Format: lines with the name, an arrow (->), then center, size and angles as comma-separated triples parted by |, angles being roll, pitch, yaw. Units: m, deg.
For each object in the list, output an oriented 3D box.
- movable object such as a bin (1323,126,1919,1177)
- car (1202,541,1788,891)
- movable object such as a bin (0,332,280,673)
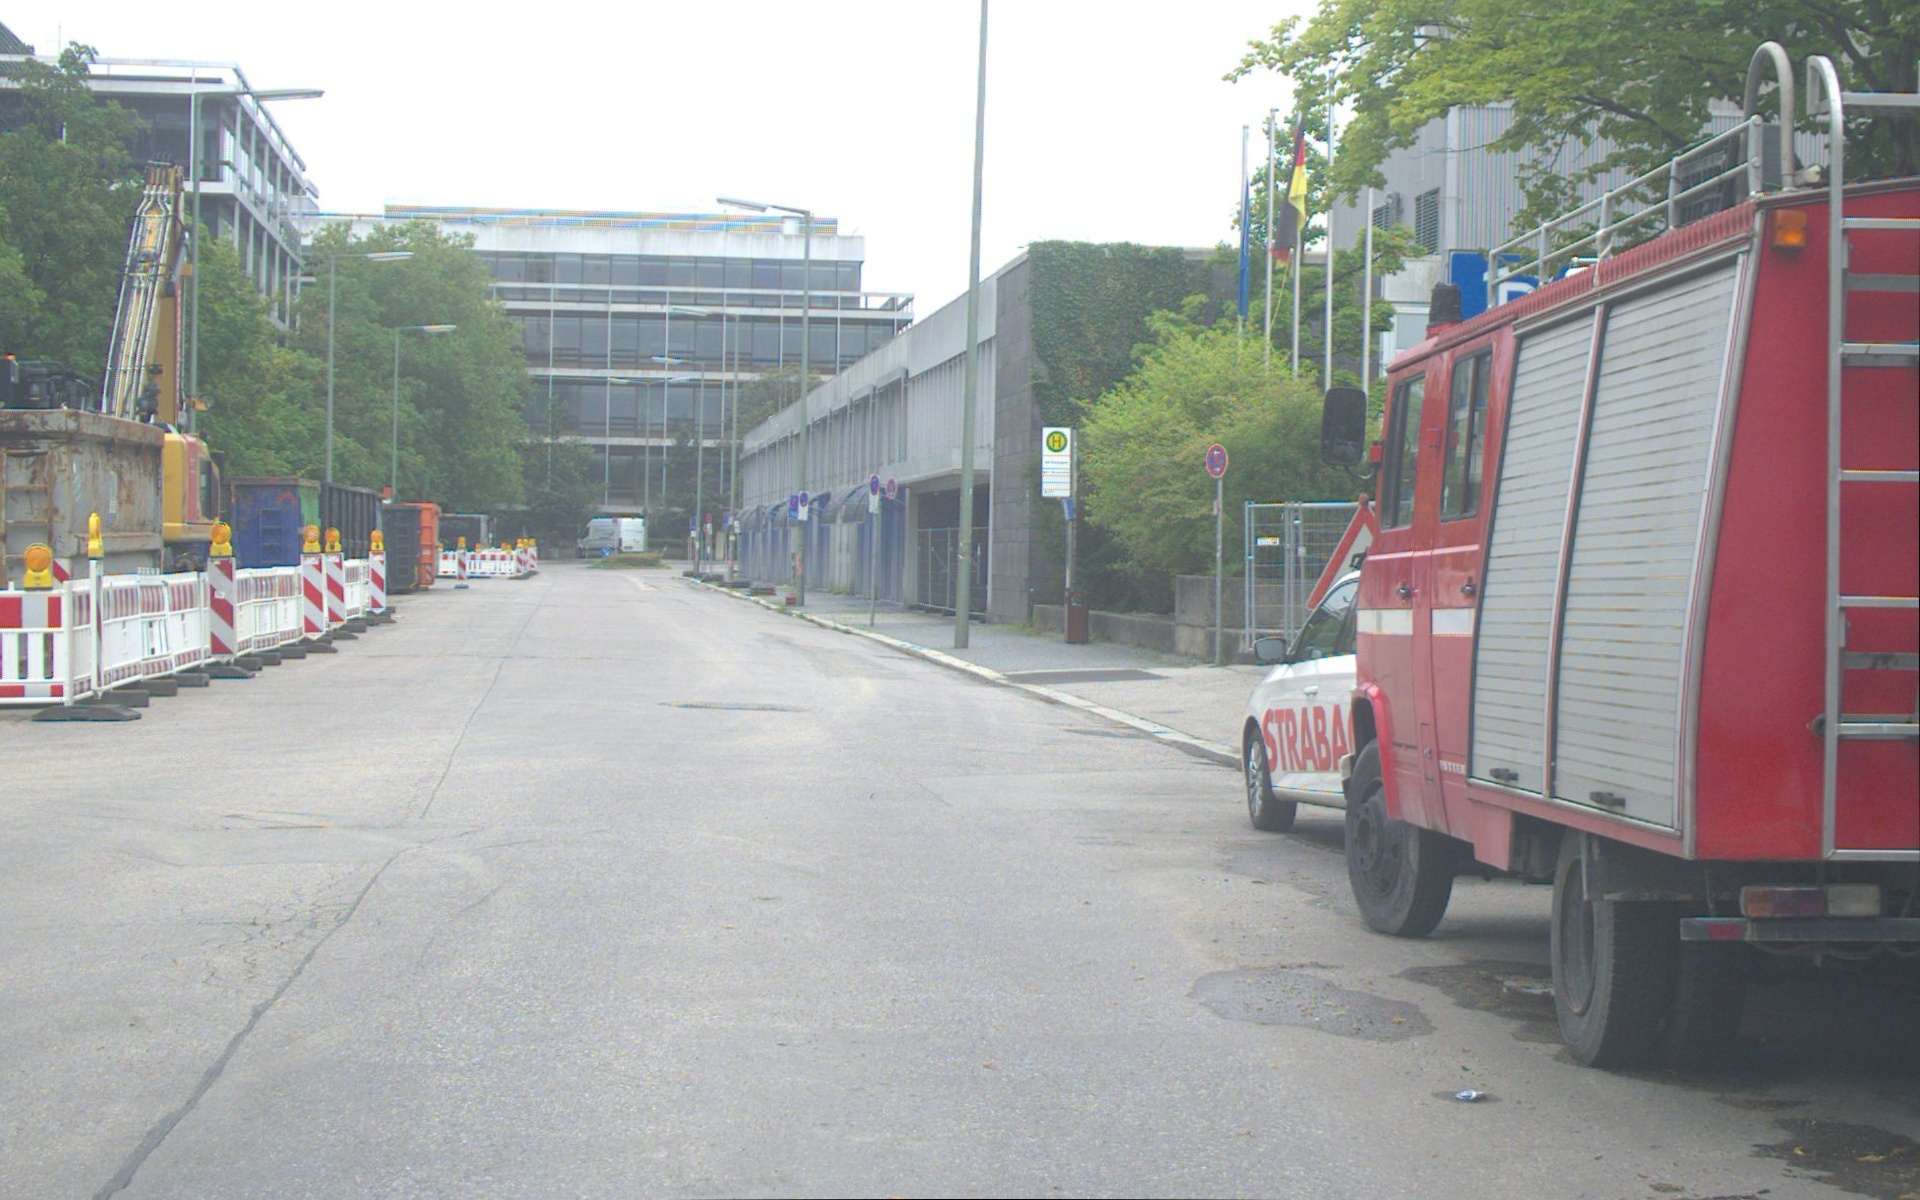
movable object such as a bin -> 2.624, 0.064, 11.139 | 2.104, 2.450, 6.187 | 1, 1, -1
car -> 2.579, 0.490, 17.664 | 1.775, 1.544, 4.258 | 0, 1, -8
movable object such as a bin -> -10.465, -1.199, 41.954 | 3.240, 3.703, 9.010 | 0, 2, -5
